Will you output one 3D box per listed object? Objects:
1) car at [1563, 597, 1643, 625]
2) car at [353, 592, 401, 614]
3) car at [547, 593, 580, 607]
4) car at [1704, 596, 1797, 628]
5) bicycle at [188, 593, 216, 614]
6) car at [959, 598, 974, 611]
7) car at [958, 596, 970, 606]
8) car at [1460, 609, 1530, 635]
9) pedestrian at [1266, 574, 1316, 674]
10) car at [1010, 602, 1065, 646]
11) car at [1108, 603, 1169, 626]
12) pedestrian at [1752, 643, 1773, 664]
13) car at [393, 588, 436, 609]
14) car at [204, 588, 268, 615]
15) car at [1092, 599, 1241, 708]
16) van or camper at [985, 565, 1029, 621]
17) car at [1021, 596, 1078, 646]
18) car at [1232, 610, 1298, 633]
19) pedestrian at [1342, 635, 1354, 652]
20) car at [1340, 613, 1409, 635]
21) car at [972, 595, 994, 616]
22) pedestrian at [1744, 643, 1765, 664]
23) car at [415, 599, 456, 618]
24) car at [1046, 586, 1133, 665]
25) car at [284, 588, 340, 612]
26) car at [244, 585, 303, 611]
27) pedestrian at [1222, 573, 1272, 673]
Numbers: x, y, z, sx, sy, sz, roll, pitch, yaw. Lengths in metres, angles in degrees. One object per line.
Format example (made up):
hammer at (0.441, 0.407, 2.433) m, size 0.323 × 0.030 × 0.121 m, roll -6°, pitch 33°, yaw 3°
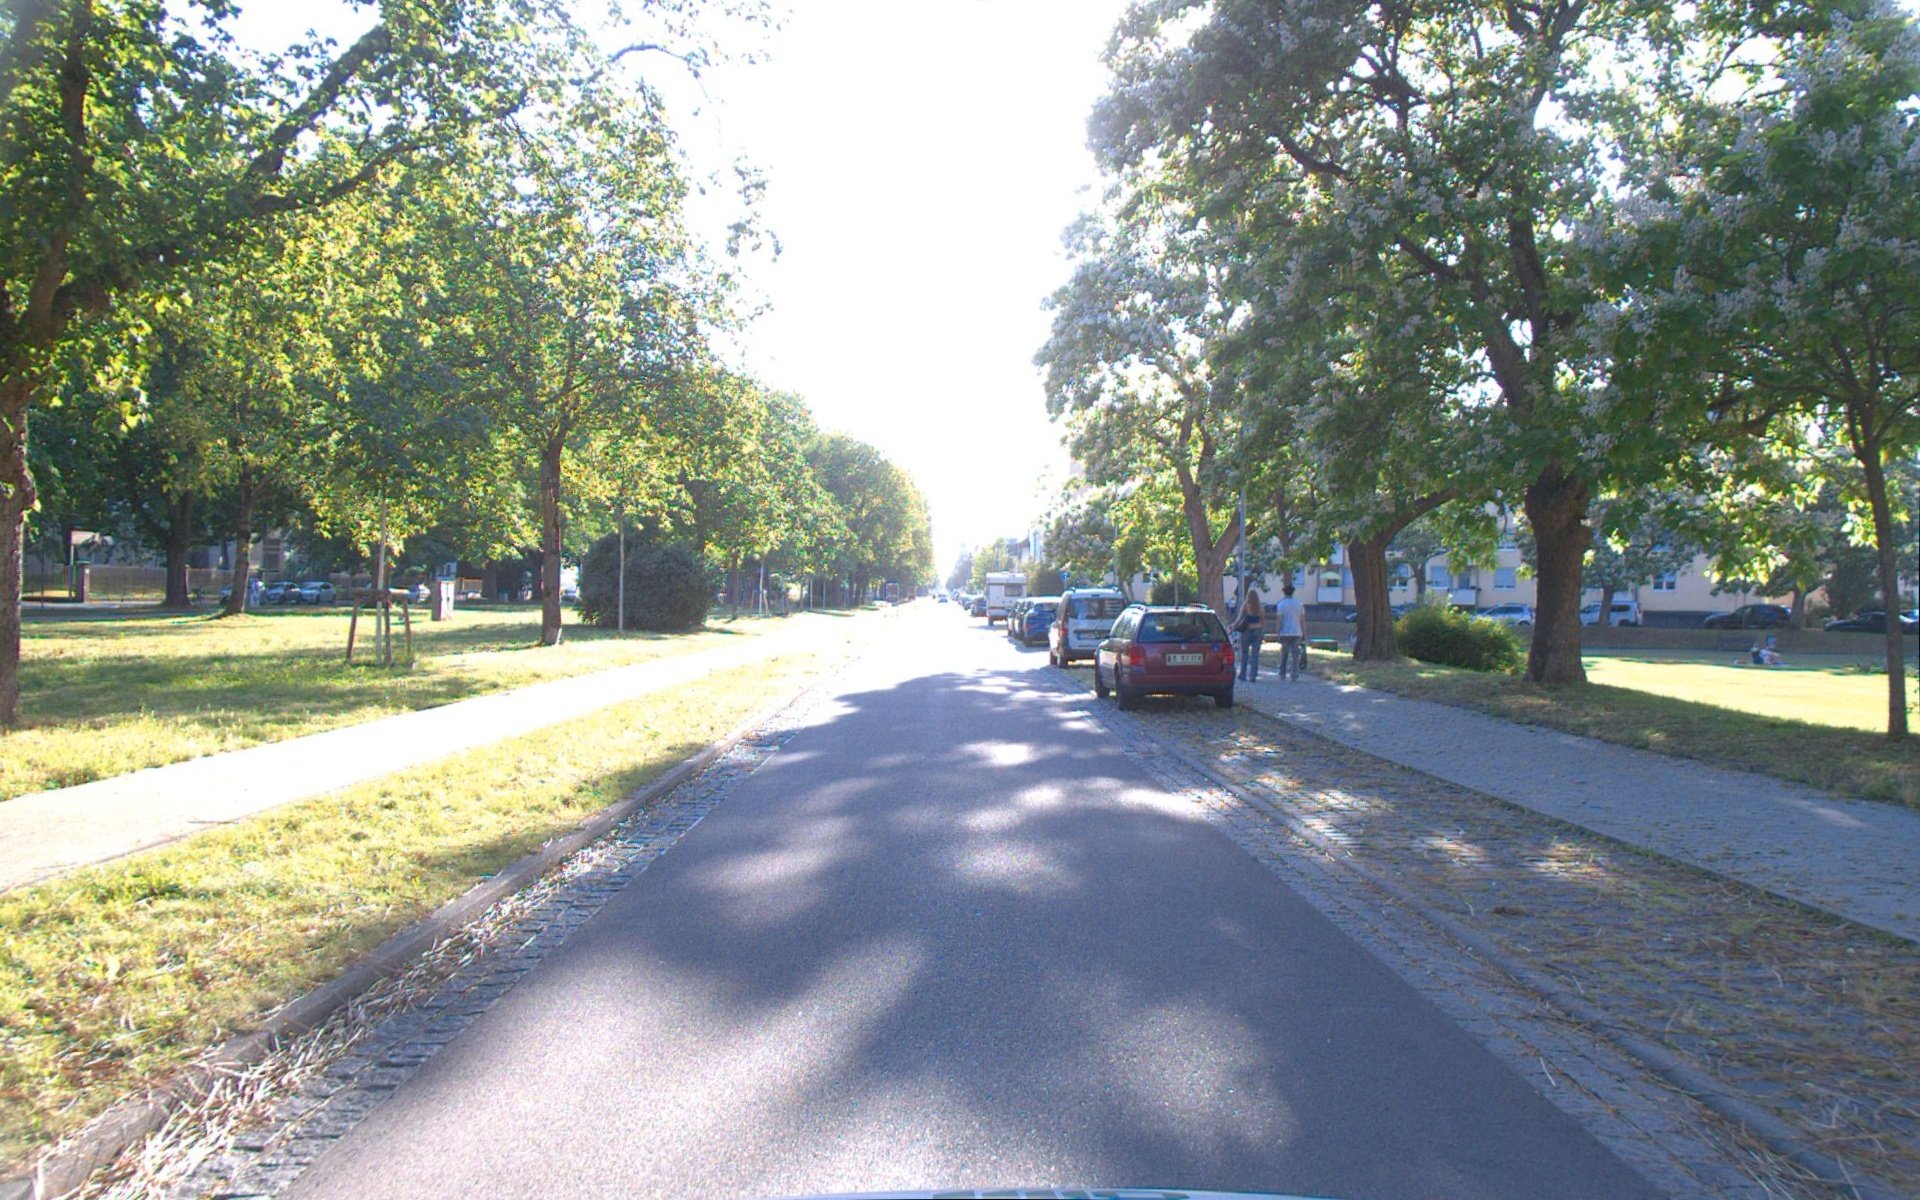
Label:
car at (40.665, 0.686, 104.688) m, size 4.433 × 1.776 × 1.874 m, roll 0°, pitch -1°, yaw 35°
car at (-42.090, 0.248, 119.475) m, size 1.952 × 1.534 × 4.115 m, roll 0°, pitch -1°, yaw 0°
car at (-43.995, 0.015, 183.818) m, size 2.456 × 1.534 × 4.912 m, roll 0°, pitch -1°, yaw 0°
car at (44.843, 0.653, 93.833) m, size 4.448 × 1.776 × 1.868 m, roll 0°, pitch -1°, yaw 43°
bicycle at (-43.855, 0.220, 95.750) m, size 0.644 × 1.196 × 2.332 m, roll 1°, pitch -1°, yaw -3°
car at (0.691, 0.540, 187.459) m, size 1.593 × 1.434 × 4.248 m, roll 0°, pitch -1°, yaw -1°
car at (0.502, 0.160, 234.848) m, size 1.593 × 1.434 × 4.248 m, roll 0°, pitch -1°, yaw -1°
car at (33.040, 1.364, 102.080) m, size 3.909 × 1.579 × 1.608 m, roll 0°, pitch -1°, yaw 27°
pedestrian at (5.994, 0.434, 29.966) m, size 0.710 × 1.766 × 0.731 m, roll 2°, pitch 0°, yaw 0°
car at (2.839, 0.874, 61.121) m, size 1.697 × 1.578 × 4.420 m, roll 0°, pitch -1°, yaw -2°
car at (12.337, 1.002, 114.413) m, size 4.107 × 1.557 × 2.001 m, roll 0°, pitch -1°, yaw 3°
pedestrian at (32.420, 2.158, 66.799) m, size 0.662 × 0.808 × 0.578 m, roll 1°, pitch -1°, yaw -44°
car at (-42.421, -0.103, 128.768) m, size 1.952 × 1.534 × 4.115 m, roll 0°, pitch -1°, yaw 0°
car at (-42.495, 0.083, 97.204) m, size 1.952 × 1.534 × 4.000 m, roll 0°, pitch -1°, yaw 0°
car at (3.094, 0.773, 25.640) m, size 1.644 × 1.512 × 4.808 m, roll 0°, pitch -1°, yaw -1°
van or camper at (2.608, -0.363, 92.359) m, size 2.189 × 2.955 × 5.671 m, roll 0°, pitch -1°, yaw -1°
car at (2.937, 0.692, 54.872) m, size 1.696 × 1.578 × 4.275 m, roll 0°, pitch -1°, yaw 0°
car at (19.763, 1.380, 107.049) m, size 4.106 × 1.488 × 1.694 m, roll 0°, pitch -1°, yaw 15°
pedestrian at (19.791, 2.209, 84.400) m, size 0.463 × 0.827 × 0.612 m, roll 2°, pitch 0°, yaw 1°
car at (26.344, 1.521, 105.231) m, size 4.108 × 1.381 × 1.693 m, roll 0°, pitch -1°, yaw 20°
car at (1.837, 0.453, 133.707) m, size 1.593 × 1.698 × 4.248 m, roll 0°, pitch -1°, yaw -1°
pedestrian at (31.850, 2.148, 66.271) m, size 0.662 × 0.808 × 0.578 m, roll 1°, pitch -1°, yaw -44°
car at (-42.557, 0.721, 134.233) m, size 1.952 × 1.534 × 4.115 m, roll 0°, pitch -1°, yaw 0°
car at (3.029, 0.593, 39.454) m, size 1.644 × 1.770 × 4.513 m, roll 0°, pitch -1°, yaw -1°
car at (-42.161, 0.001, 107.703) m, size 1.952 × 1.534 × 4.115 m, roll 0°, pitch -1°, yaw 0°
car at (-42.272, -0.104, 101.950) m, size 1.952 × 1.534 × 4.000 m, roll 0°, pitch -1°, yaw 0°
pedestrian at (5.196, 0.406, 29.944) m, size 0.738 × 1.766 × 0.731 m, roll 2°, pitch 0°, yaw 0°
